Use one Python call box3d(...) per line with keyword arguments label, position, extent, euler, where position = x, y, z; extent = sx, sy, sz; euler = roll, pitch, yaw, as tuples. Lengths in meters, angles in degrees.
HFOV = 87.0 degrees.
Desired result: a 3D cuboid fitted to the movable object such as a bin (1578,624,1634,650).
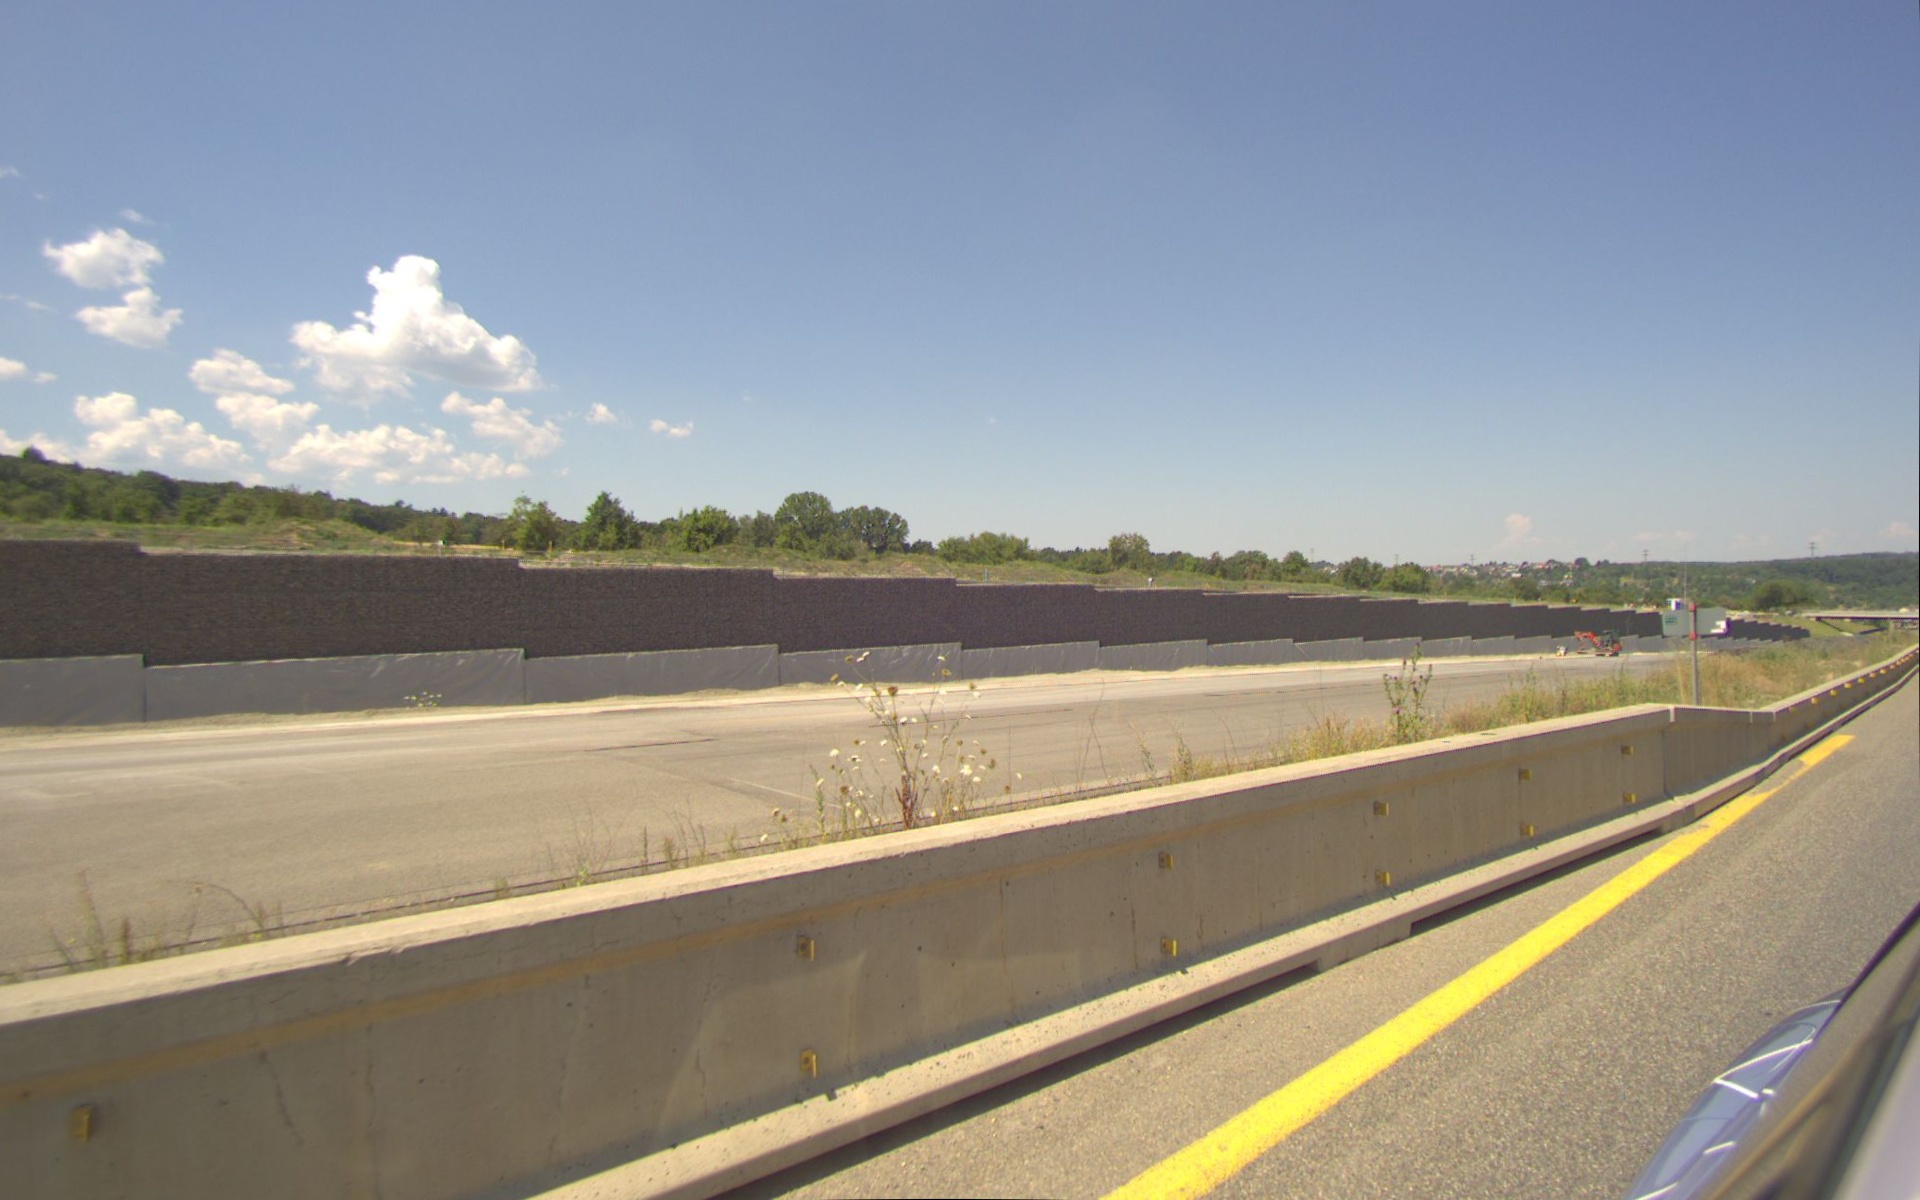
box3d(label="movable object such as a bin", position=(59.765, 3.405, 93.697), extent=(4.083, 2.175, 1.751), euler=(0, 0, 21))
